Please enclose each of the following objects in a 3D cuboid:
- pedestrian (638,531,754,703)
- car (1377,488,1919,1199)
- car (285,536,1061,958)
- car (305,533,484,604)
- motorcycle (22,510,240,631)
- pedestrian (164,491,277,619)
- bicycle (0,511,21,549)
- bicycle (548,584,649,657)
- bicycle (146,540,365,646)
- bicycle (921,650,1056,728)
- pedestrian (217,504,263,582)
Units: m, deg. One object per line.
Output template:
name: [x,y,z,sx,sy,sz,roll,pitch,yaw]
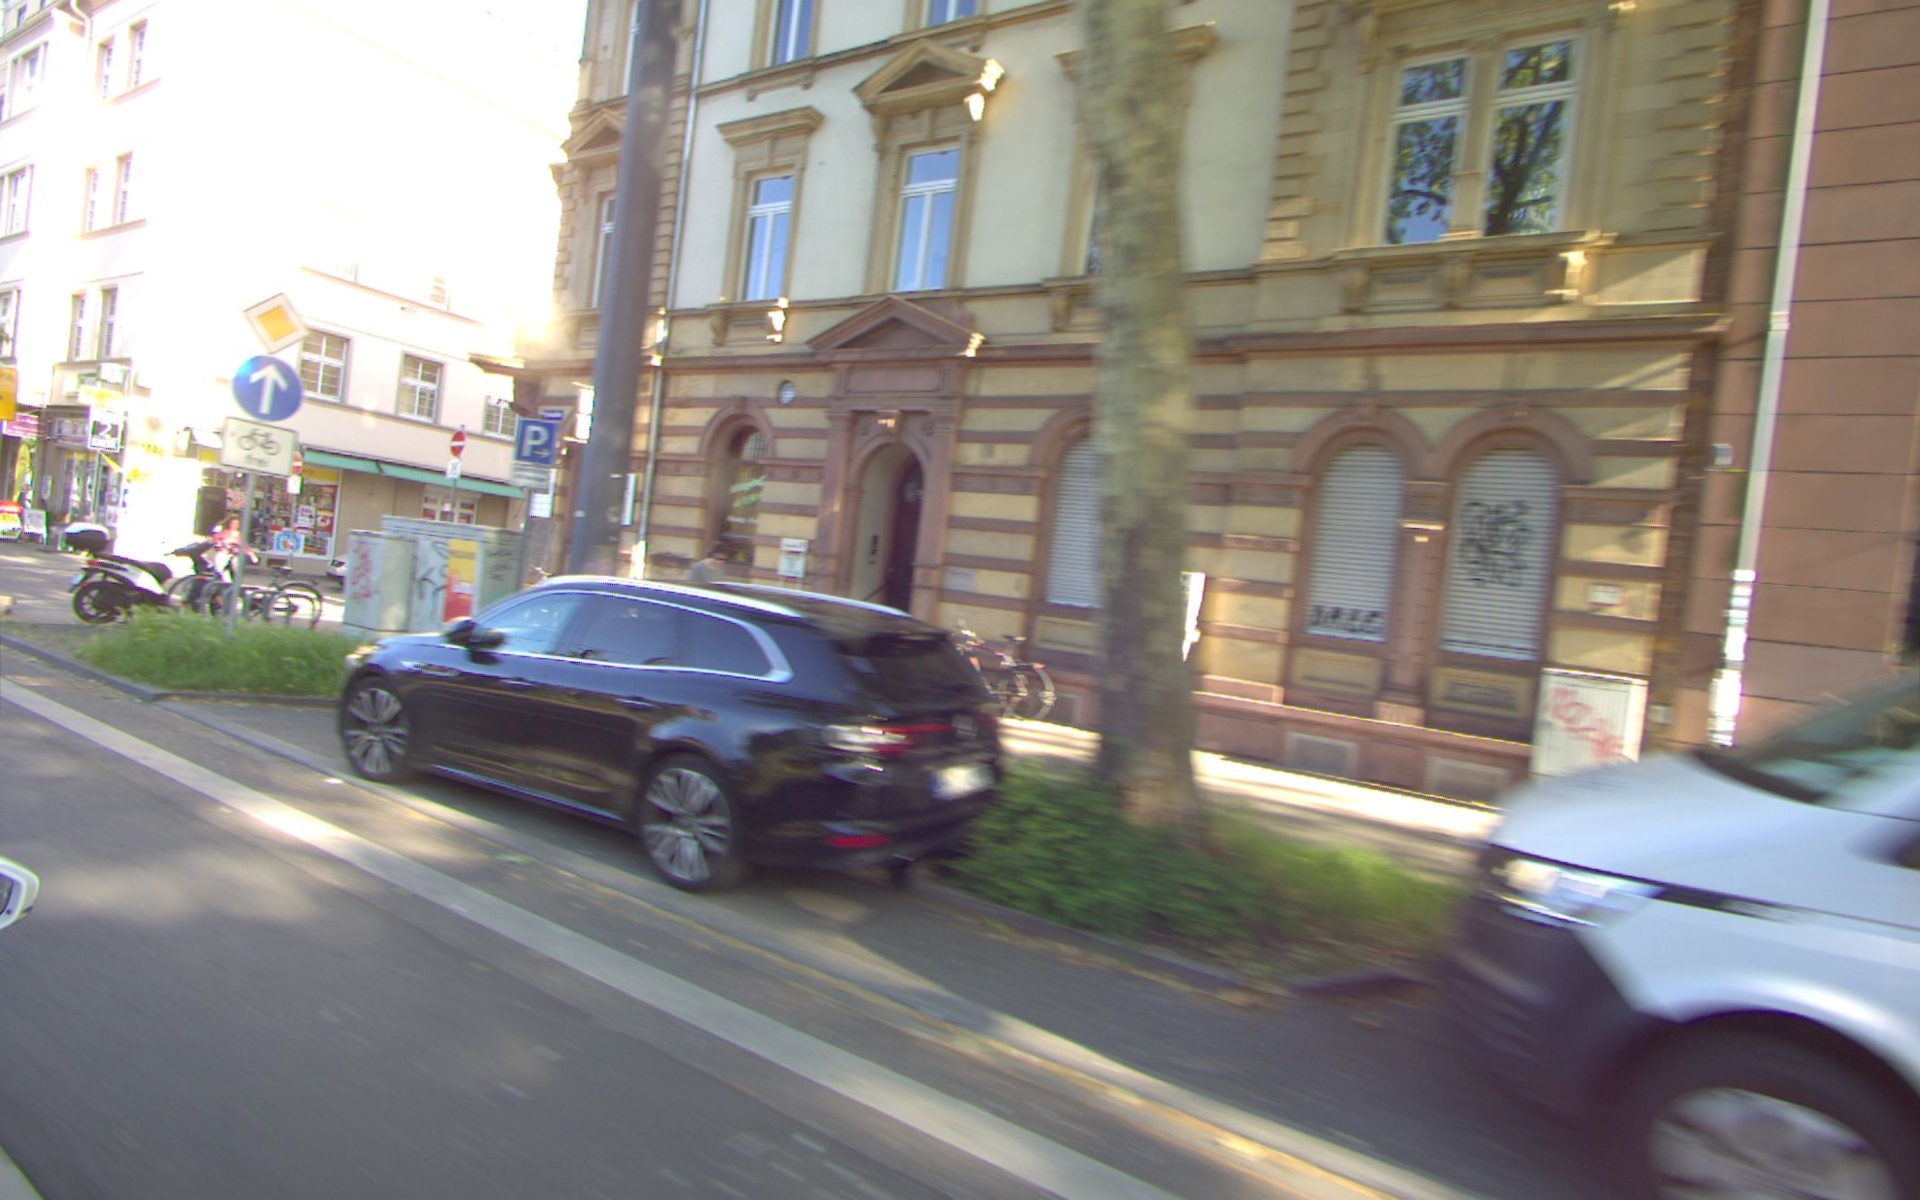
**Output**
pedestrian: [-3.032,0.195,11.562,0.880,1.848,0.644,6,-1,30]
car: [3.795,0.974,2.571,4.646,2.037,1.860,6,-2,32]
car: [-1.928,0.637,6.234,4.629,1.532,1.822,6,-2,31]
car: [-15.676,-0.843,28.060,1.640,1.492,3.940,7,0,35]
motorcycle: [-10.289,-0.325,12.586,0.507,1.245,1.954,6,-2,28]
pedestrian: [-12.905,-0.773,17.573,1.029,2.037,1.090,6,-1,32]
bicycle: [-28.731,-2.133,29.872,2.579,1.036,0.491,6,0,31]
bicycle: [-5.991,0.330,16.612,1.851,1.009,0.415,6,0,32]
bicycle: [-9.043,-0.047,13.040,0.448,1.106,2.226,6,-2,33]
bicycle: [0.355,1.127,13.051,1.635,0.783,0.549,6,2,32]
pedestrian: [-18.825,-1.488,26.291,0.577,1.925,0.553,7,-1,20]
